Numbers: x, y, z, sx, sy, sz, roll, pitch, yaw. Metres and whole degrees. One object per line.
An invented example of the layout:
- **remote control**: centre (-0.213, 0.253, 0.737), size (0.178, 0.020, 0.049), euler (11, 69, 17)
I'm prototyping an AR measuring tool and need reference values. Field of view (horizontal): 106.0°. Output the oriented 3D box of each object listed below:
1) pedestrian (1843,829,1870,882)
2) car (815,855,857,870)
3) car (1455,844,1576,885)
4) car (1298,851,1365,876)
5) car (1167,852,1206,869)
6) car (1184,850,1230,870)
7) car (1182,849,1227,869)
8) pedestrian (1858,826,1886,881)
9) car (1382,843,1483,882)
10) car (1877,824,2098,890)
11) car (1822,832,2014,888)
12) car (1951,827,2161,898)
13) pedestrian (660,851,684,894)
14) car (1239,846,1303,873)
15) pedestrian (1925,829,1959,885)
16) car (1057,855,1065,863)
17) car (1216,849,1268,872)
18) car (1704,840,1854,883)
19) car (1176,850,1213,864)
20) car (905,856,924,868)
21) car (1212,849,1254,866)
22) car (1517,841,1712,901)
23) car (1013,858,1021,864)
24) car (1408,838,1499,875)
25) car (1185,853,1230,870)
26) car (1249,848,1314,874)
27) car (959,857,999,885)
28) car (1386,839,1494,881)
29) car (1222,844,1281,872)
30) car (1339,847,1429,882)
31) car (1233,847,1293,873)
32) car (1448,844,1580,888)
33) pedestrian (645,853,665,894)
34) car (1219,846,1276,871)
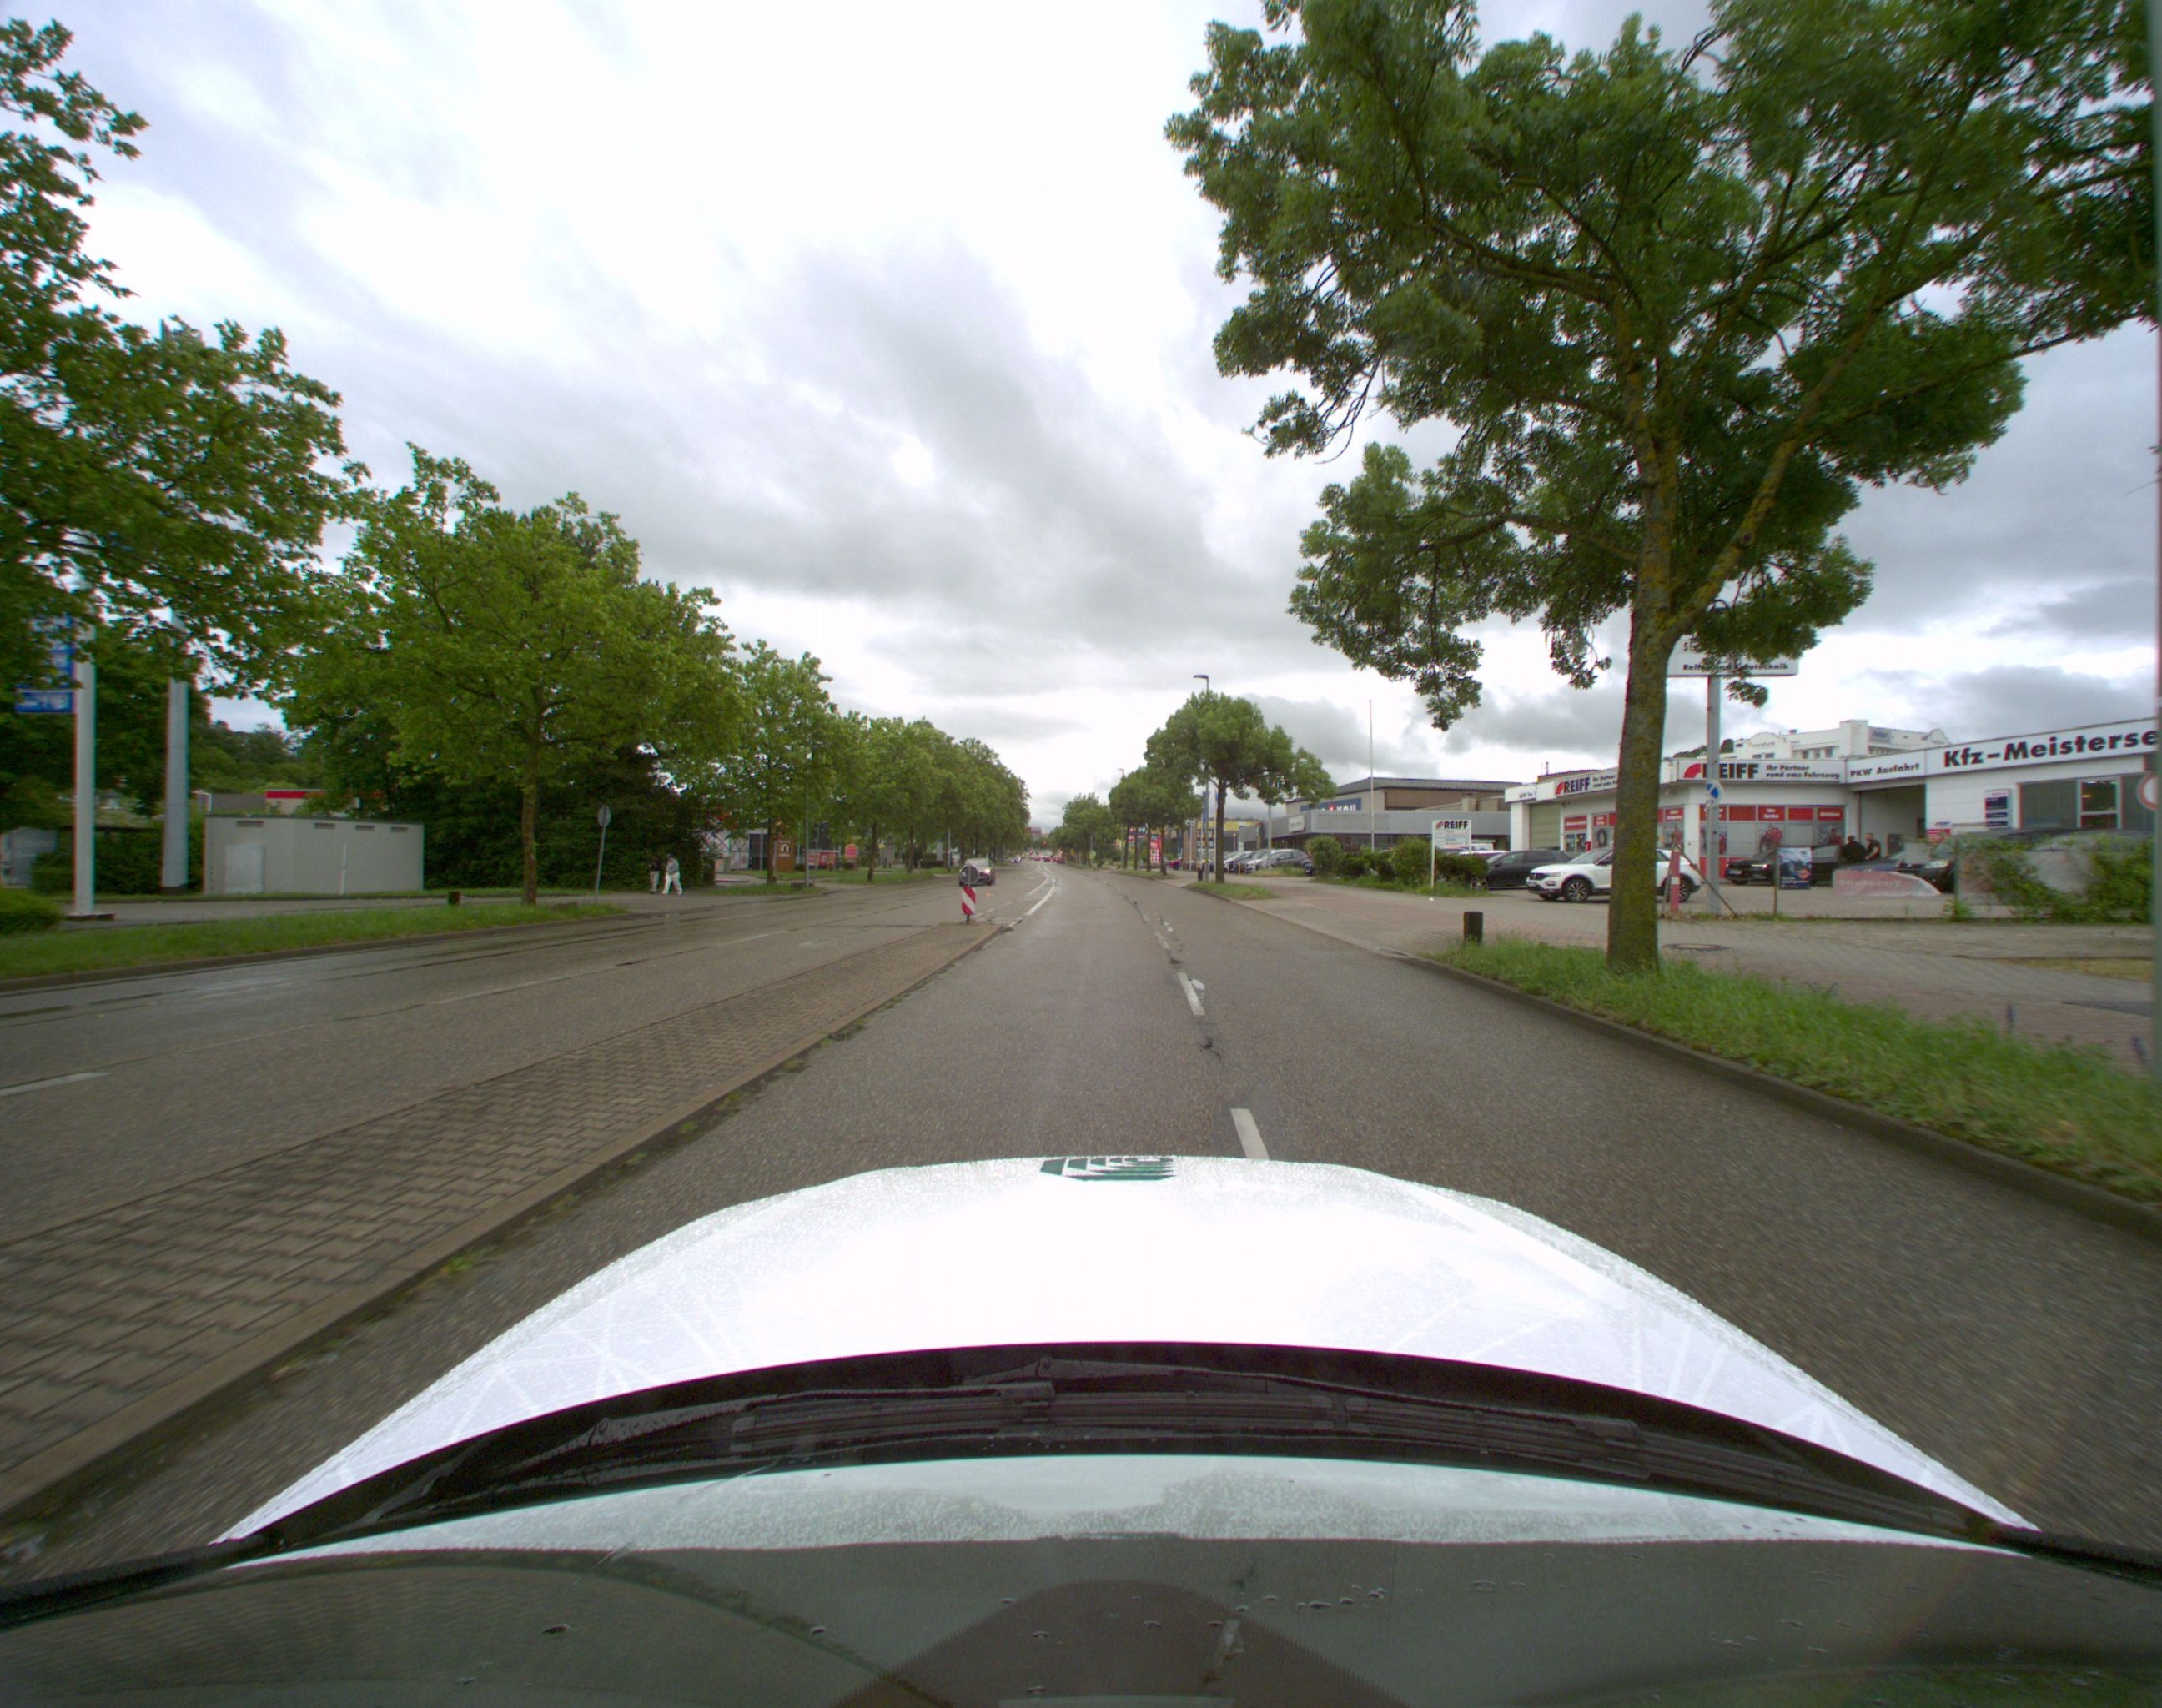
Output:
- **pedestrian**: centre (25.393, 0.057, 26.669), size (0.439, 1.705, 0.511), euler (0, -1, -27)
- **car**: centre (-20.731, 0.723, 68.951), size (3.160, 1.155, 1.292), euler (2, 0, 5)
- **car**: centre (17.261, 0.428, 32.517), size (3.901, 1.523, 1.739), euler (-1, 0, 12)
- **car**: centre (15.883, 0.581, 51.802), size (3.668, 1.464, 1.793), euler (-1, 0, -1)
- **car**: centre (11.168, 0.677, 86.137), size (3.832, 1.603, 1.794), euler (-3, 0, -3)
- **car**: centre (11.722, 0.556, 75.824), size (3.833, 1.566, 1.664), euler (-4, 0, -5)
- **car**: centre (12.003, 0.522, 79.504), size (3.977, 1.647, 1.843), euler (-4, 0, -3)
- **pedestrian**: centre (26.326, -0.010, 27.113), size (0.434, 1.785, 0.518), euler (-1, -1, 15)
- **car**: centre (15.913, 0.385, 37.062), size (4.106, 1.662, 1.831), euler (-1, 1, 21)
- **car**: centre (25.394, 0.090, 22.948), size (3.971, 1.680, 1.958), euler (-1, 0, 2)
- **car**: centre (25.464, 0.176, 24.884), size (3.971, 1.579, 1.777), euler (-1, 0, 2)
- **car**: centre (24.953, 0.205, 20.411), size (3.966, 1.680, 1.961), euler (-1, 0, 6)
- **pedestrian**: centre (-17.062, 0.774, 33.996), size (0.659, 1.767, 0.586), euler (0, -1, 21)
- **car**: centre (13.419, 0.377, 57.690), size (3.975, 1.543, 1.811), euler (-5, 0, -1)
- **pedestrian**: centre (27.761, 0.106, 26.248), size (0.512, 1.785, 0.505), euler (-1, -1, 4)
- **car**: centre (-4.685, 1.166, 189.740), size (1.740, 2.014, 3.997), euler (0, 0, -2)
- **car**: centre (13.319, 0.548, 67.617), size (3.975, 1.786, 1.811), euler (-1, 0, -1)
- **car**: centre (24.704, 0.264, 28.929), size (3.834, 1.479, 1.787), euler (0, -1, -1)
- **car**: centre (16.043, 0.418, 114.896), size (4.825, 2.014, 1.982), euler (-1, -1, -13)
- **car**: centre (-21.202, 0.963, 103.828), size (1.820, 1.486, 3.934), euler (-1, 0, -4)
- **car**: centre (16.066, 0.347, 86.242), size (4.094, 1.621, 1.881), euler (-2, 0, 1)
- **car**: centre (14.766, 0.463, 22.752), size (4.153, 1.552, 1.893), euler (-1, 0, 6)
- **car**: centre (-15.723, 1.635, 199.351), size (1.799, 1.463, 3.842), euler (-1, 0, -2)
- **car**: centre (22.603, 0.175, 49.469), size (4.642, 2.149, 1.963), euler (-1, 0, -3)
- **car**: centre (12.096, 0.741, 77.846), size (3.977, 1.538, 1.798), euler (-1, 0, -3)
- **car**: centre (13.559, 0.465, 55.159), size (3.824, 1.461, 1.826), euler (-4, 0, -3)
- **car**: centre (-5.957, 0.964, 47.840), size (1.806, 1.562, 4.596), euler (-1, -1, -1)
- **car**: centre (15.365, 0.254, 35.085), size (4.108, 1.662, 1.830), euler (-1, 1, 18)
- **car**: centre (12.977, 0.293, 62.076), size (3.975, 1.786, 1.811), euler (-5, 0, -1)
- **car**: centre (14.866, 0.507, 40.162), size (4.022, 1.597, 1.994), euler (-1, 0, 18)
- **car**: centre (13.380, 0.458, 60.048), size (3.975, 1.584, 1.811), euler (-5, 0, -1)
- **car**: centre (15.900, 0.442, 30.087), size (3.960, 1.522, 1.724), euler (-1, 0, 12)
- **pedestrian**: centre (-17.813, 0.797, 34.049), size (0.510, 1.683, 0.540), euler (-1, 0, -1)
- **car**: centre (13.258, 0.355, 64.952), size (3.980, 1.587, 1.810), euler (-5, 1, -4)
